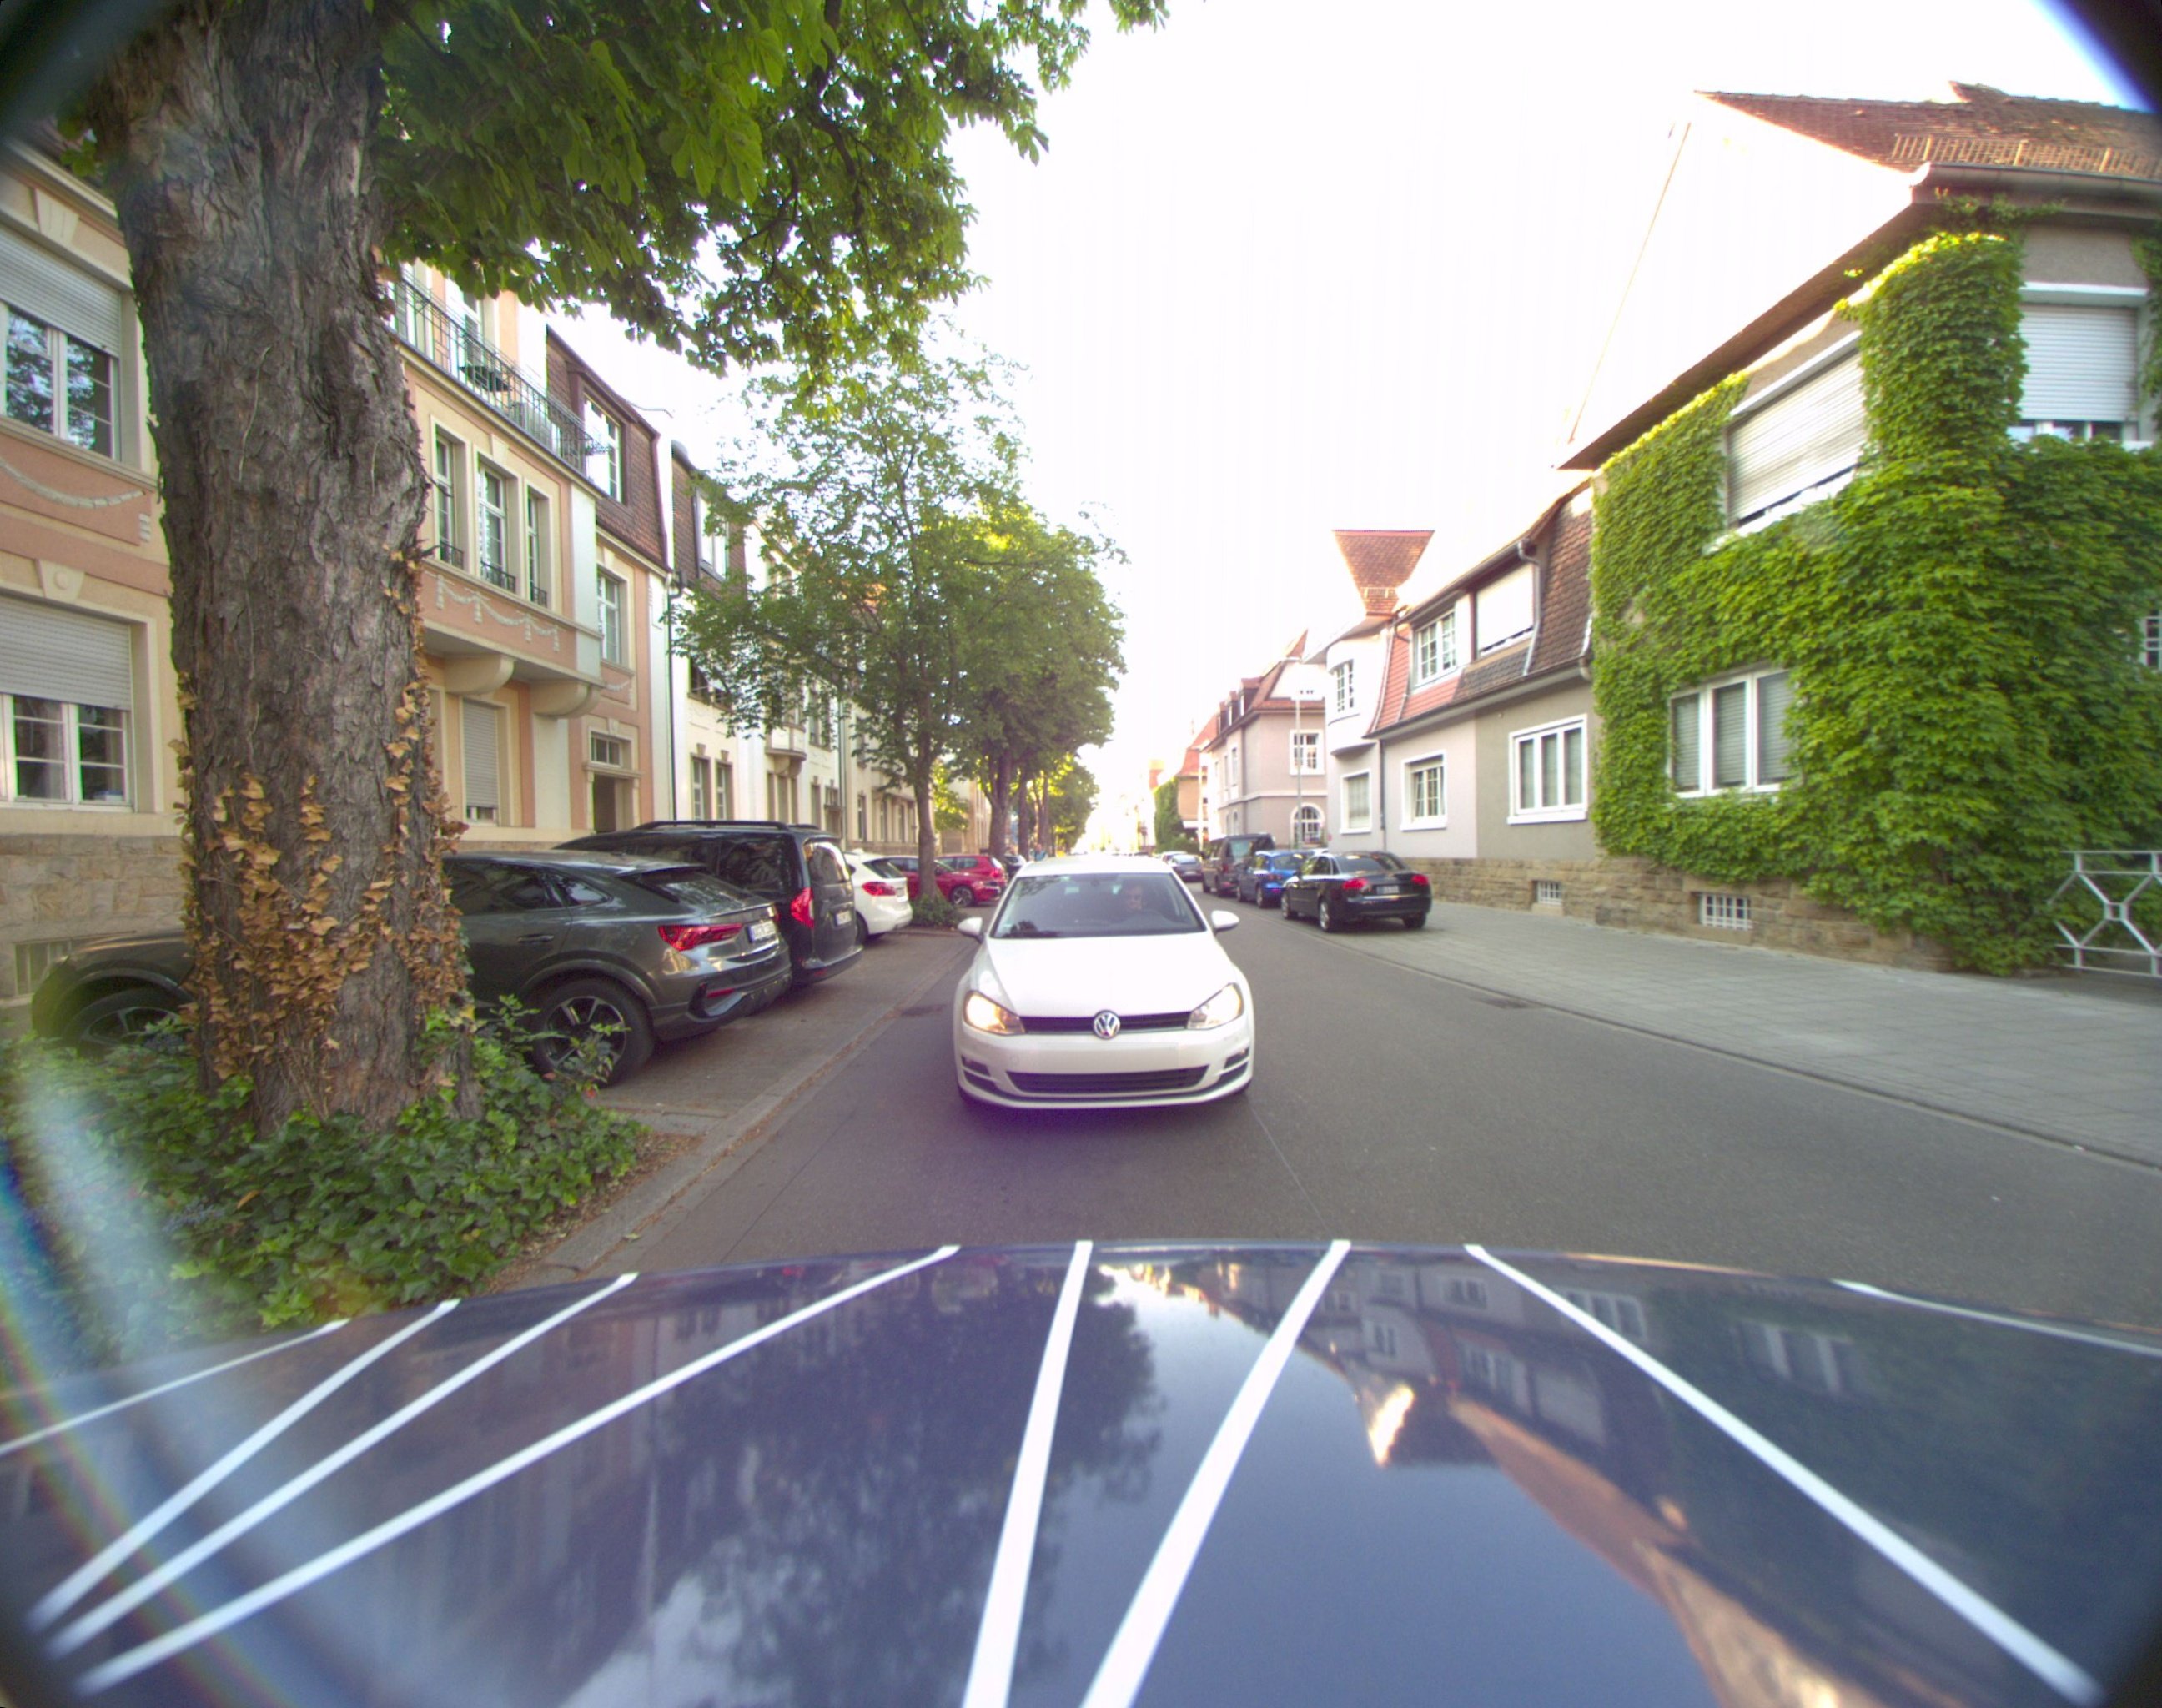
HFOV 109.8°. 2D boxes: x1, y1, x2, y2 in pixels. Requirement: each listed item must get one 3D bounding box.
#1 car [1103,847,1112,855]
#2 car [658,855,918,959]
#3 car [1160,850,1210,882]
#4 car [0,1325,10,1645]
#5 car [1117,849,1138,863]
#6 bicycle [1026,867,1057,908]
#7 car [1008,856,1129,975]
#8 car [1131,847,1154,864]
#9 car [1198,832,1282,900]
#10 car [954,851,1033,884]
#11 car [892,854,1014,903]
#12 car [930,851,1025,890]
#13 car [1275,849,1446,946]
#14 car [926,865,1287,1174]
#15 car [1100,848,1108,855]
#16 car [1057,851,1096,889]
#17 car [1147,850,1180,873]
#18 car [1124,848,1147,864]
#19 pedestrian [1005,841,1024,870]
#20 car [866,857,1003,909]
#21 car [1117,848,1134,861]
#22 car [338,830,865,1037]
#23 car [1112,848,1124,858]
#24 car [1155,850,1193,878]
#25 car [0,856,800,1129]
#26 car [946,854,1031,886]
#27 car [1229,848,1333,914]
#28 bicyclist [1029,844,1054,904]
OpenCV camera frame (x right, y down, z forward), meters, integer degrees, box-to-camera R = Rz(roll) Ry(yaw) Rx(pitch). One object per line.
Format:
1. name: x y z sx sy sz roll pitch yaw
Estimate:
1. car: 5.240 -0.567 149.458 1.643 1.461 3.689 -3 1 0
2. car: -4.606 0.820 12.337 3.623 1.541 1.537 1 1 -4
3. car: 4.982 0.543 36.814 1.719 1.363 4.334 -3 0 0
4. car: -4.664 0.789 0.516 4.835 1.814 1.880 1 1 -4
5. car: 4.916 0.199 80.915 1.643 1.461 3.688 -3 1 -4
6. bicycle: -1.169 0.975 22.924 0.744 1.111 2.013 -2 0 1
7. car: -0.139 0.830 12.138 1.600 1.546 4.000 1 0 1
8. car: 5.491 0.125 68.228 1.643 1.461 3.945 -3 0 0
9. car: 5.155 0.321 25.184 1.719 1.961 4.310 -4 1 0
10. car: -4.199 0.631 36.880 3.622 1.555 1.537 0 1 0
11. car: -4.043 0.756 24.340 3.622 1.456 1.537 1 1 0
12. car: -4.171 0.656 30.945 3.622 1.555 1.537 0 1 0
13. car: 5.076 0.705 14.408 1.751 1.421 4.023 -4 1 1
14. car: 0.095 0.875 5.902 1.799 1.420 4.023 -2 0 -1
15. car: 5.156 -0.490 173.340 1.643 1.461 3.689 -3 1 0
16. car: -0.162 0.653 32.960 1.560 1.546 3.738 1 0 1
17. car: 5.445 0.448 50.649 1.719 1.363 3.945 -3 0 0
18. car: 5.401 0.226 75.521 1.643 1.461 3.688 -3 1 -4
19. pedestrian: -4.713 0.098 54.034 1.188 2.002 0.931 1 1 6
20. car: -4.129 0.803 21.787 3.622 1.395 1.537 1 1 0
21. car: 5.321 0.000 91.208 1.643 1.461 3.689 -3 1 -1
22. car: -4.461 0.705 7.594 4.173 1.816 1.594 1 1 -4
23. car: 5.683 -0.160 115.909 1.643 1.461 3.689 -3 1 0
24. car: 5.132 0.527 42.183 1.541 1.363 3.945 -3 0 0
25. car: -4.380 0.839 5.413 4.173 1.583 1.594 1 1 -4
26. car: -4.138 0.712 34.208 3.622 1.395 1.537 0 1 0
27. car: 5.228 0.632 20.376 1.611 1.455 4.023 -4 1 0
28. bicyclist: -1.191 0.586 22.936 0.648 1.765 0.830 -2 1 1
